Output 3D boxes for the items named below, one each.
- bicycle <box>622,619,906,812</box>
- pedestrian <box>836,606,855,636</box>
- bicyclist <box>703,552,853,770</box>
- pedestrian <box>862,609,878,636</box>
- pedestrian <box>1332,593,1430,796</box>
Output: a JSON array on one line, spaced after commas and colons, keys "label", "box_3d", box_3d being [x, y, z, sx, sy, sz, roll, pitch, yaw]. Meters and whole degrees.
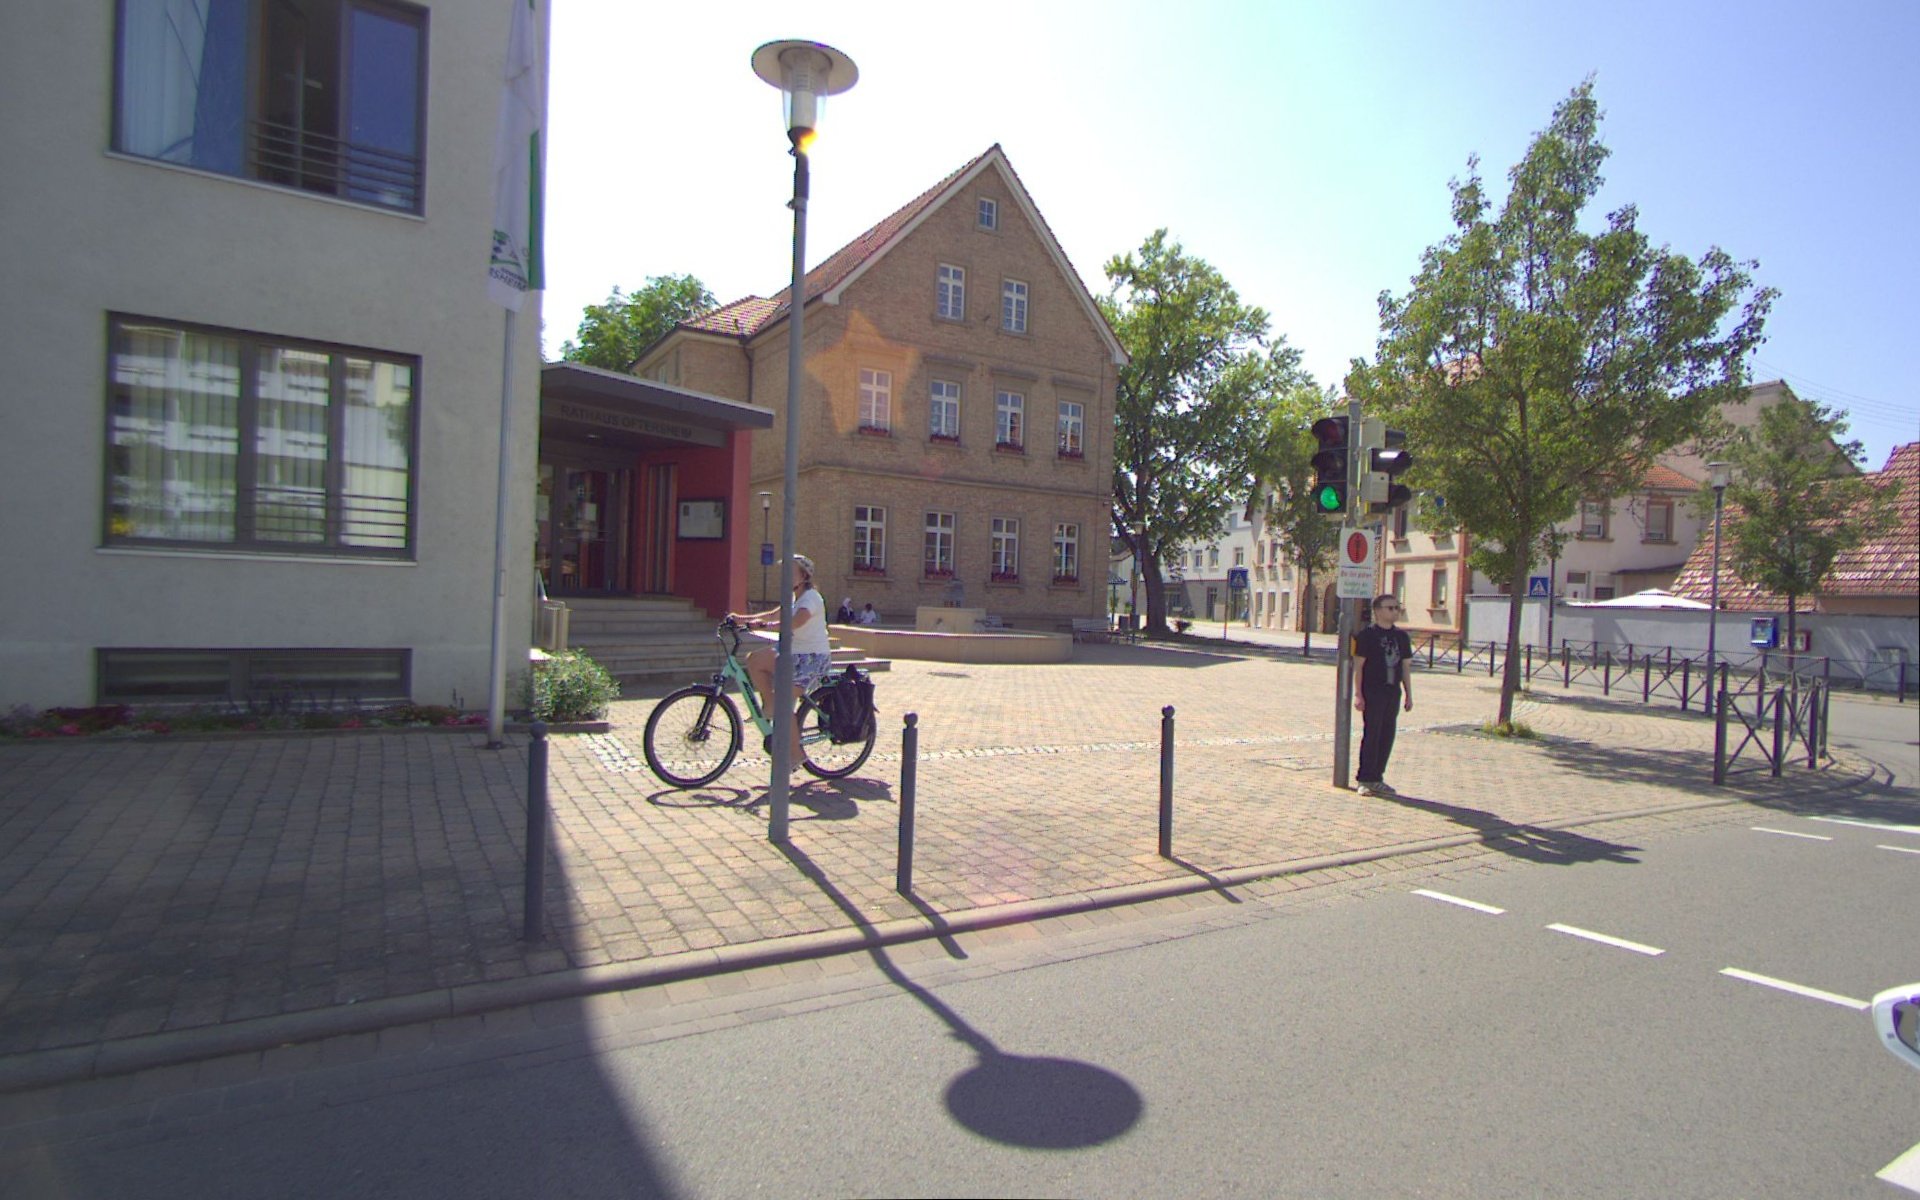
[{"label": "bicycle", "box_3d": [-1.440, 0.811, 7.535, 1.950, 1.269, 0.705, 2, 0, -32]}, {"label": "pedestrian", "box_3d": [-3.227, 0.602, 28.227, 0.356, 0.828, 0.365, 2, 0, 43]}, {"label": "bicyclist", "box_3d": [-1.374, 0.434, 7.546, 0.862, 1.526, 0.710, 2, 0, -33]}, {"label": "pedestrian", "box_3d": [-2.573, 0.641, 28.722, 0.352, 0.742, 0.288, 2, 0, 43]}, {"label": "pedestrian", "box_3d": [3.565, 0.782, 8.546, 0.546, 1.640, 0.550, 3, 0, 4]}]
